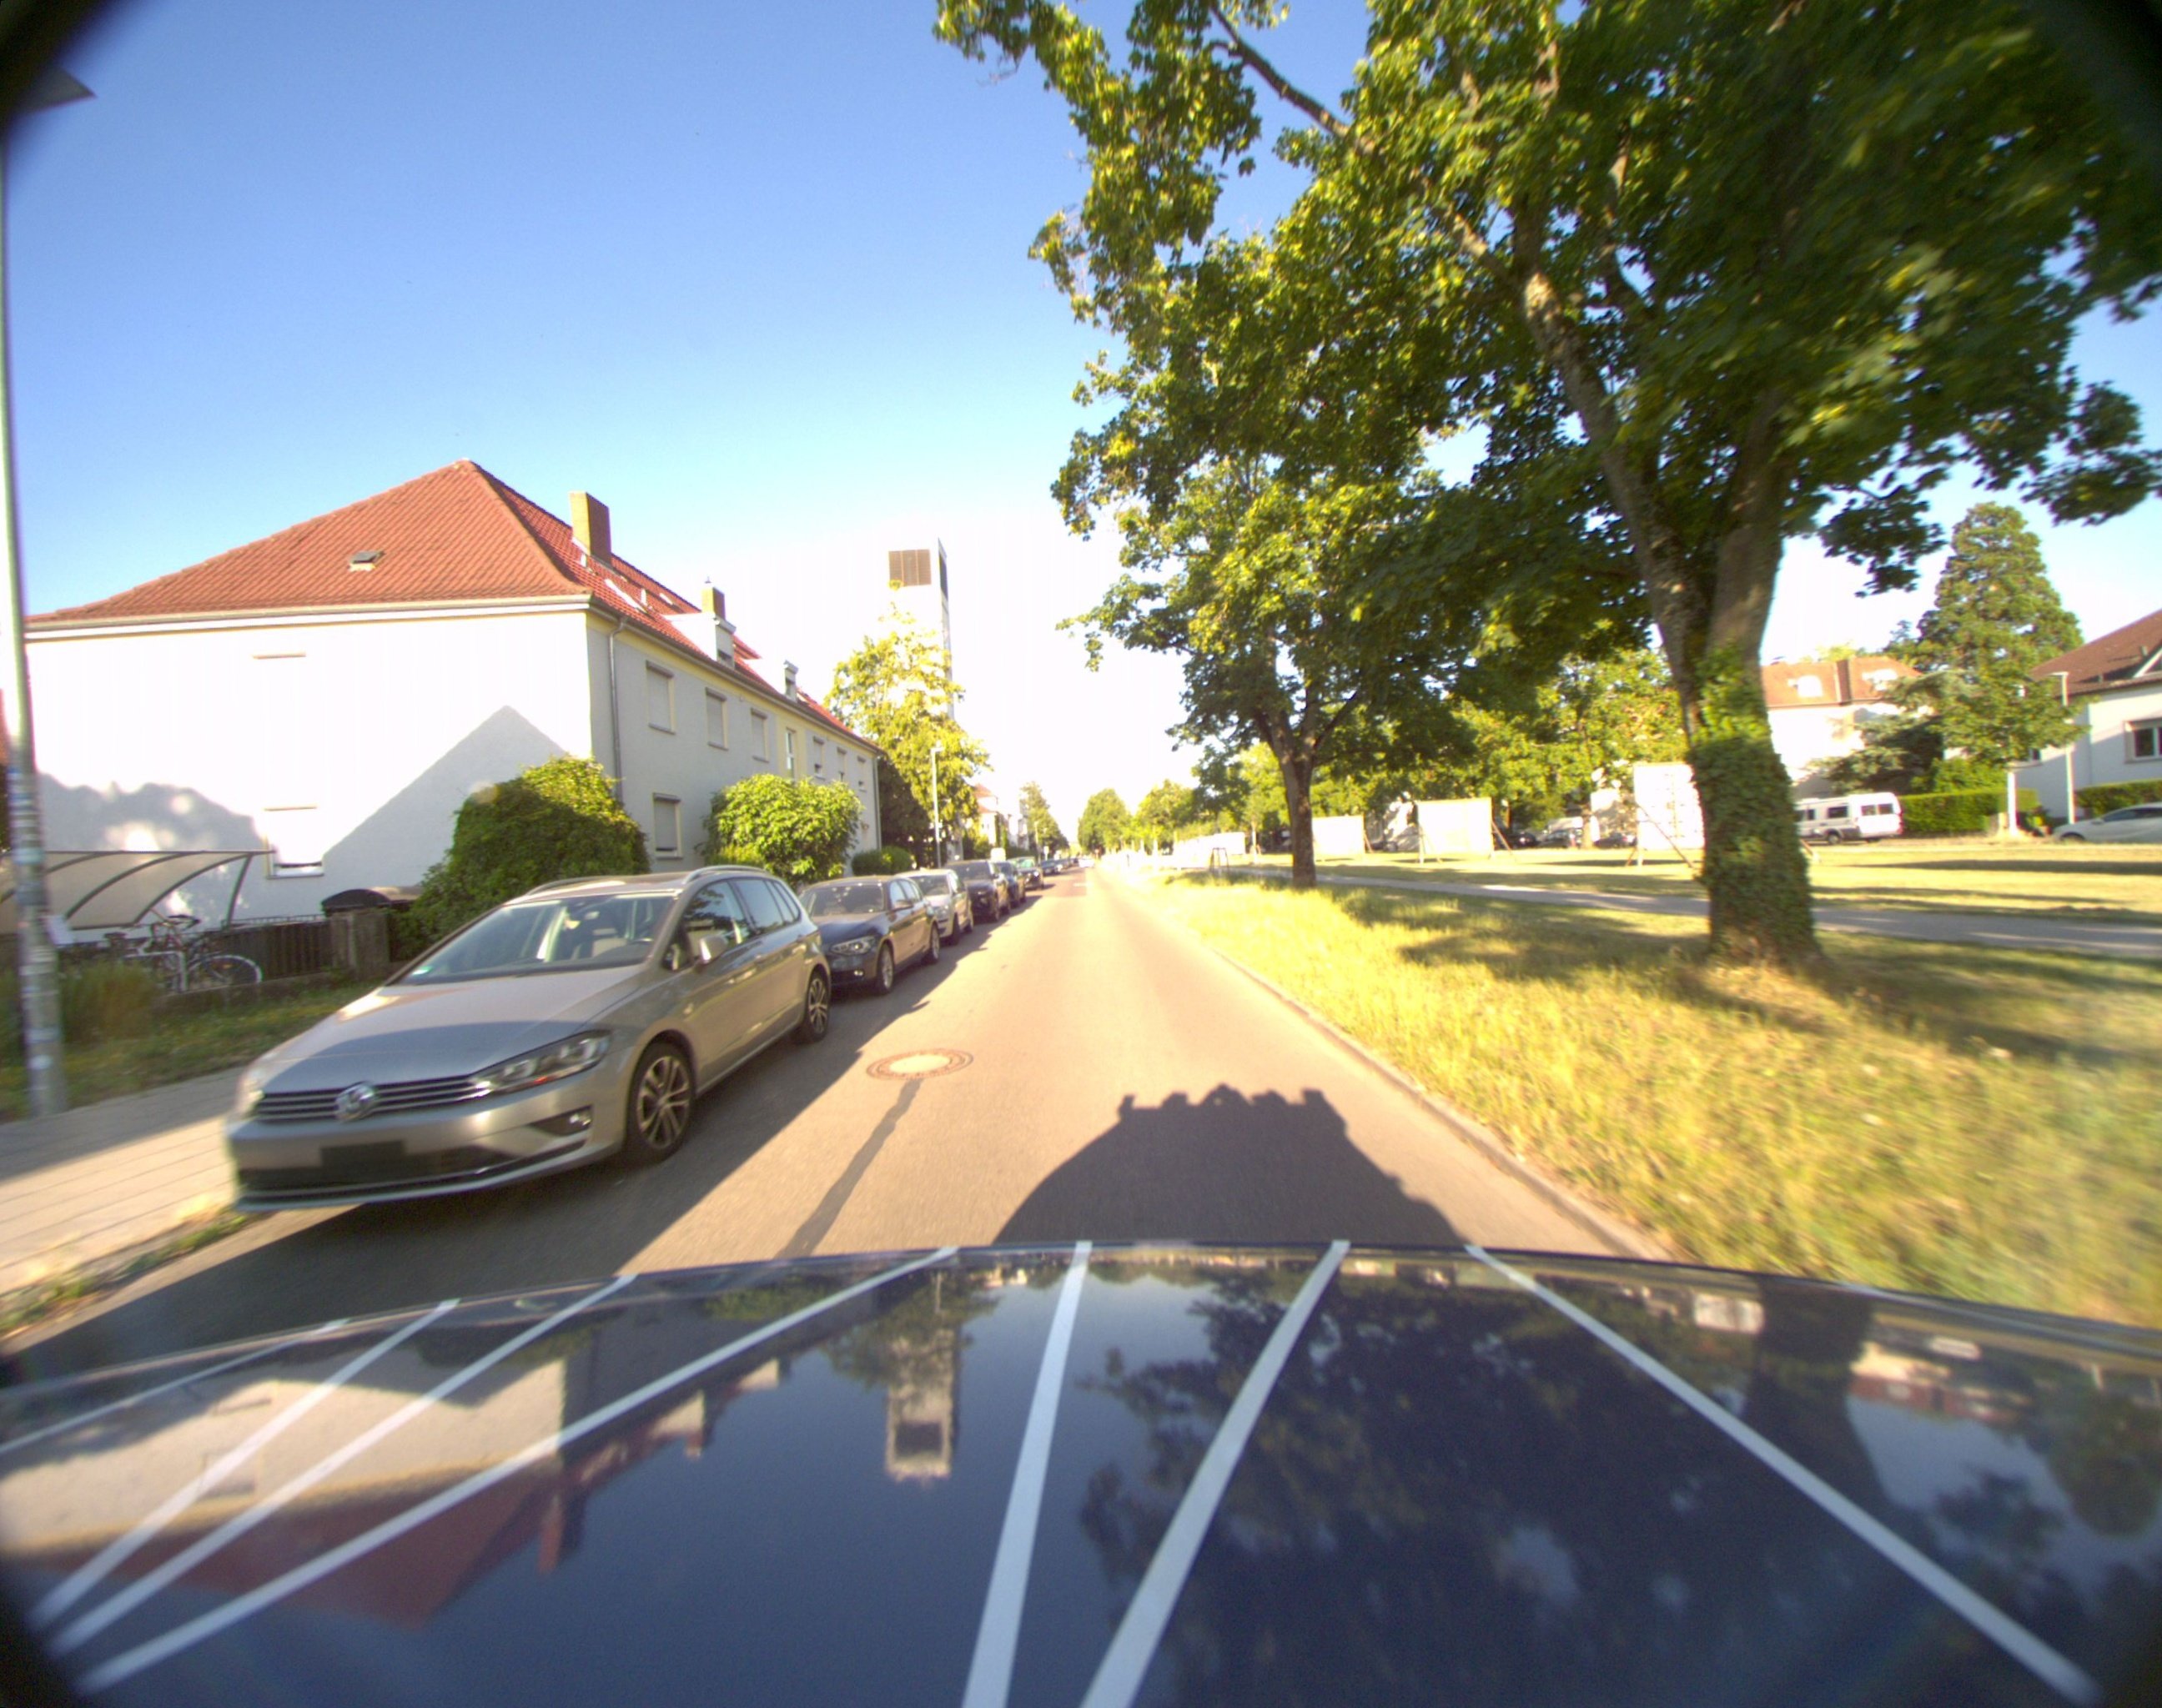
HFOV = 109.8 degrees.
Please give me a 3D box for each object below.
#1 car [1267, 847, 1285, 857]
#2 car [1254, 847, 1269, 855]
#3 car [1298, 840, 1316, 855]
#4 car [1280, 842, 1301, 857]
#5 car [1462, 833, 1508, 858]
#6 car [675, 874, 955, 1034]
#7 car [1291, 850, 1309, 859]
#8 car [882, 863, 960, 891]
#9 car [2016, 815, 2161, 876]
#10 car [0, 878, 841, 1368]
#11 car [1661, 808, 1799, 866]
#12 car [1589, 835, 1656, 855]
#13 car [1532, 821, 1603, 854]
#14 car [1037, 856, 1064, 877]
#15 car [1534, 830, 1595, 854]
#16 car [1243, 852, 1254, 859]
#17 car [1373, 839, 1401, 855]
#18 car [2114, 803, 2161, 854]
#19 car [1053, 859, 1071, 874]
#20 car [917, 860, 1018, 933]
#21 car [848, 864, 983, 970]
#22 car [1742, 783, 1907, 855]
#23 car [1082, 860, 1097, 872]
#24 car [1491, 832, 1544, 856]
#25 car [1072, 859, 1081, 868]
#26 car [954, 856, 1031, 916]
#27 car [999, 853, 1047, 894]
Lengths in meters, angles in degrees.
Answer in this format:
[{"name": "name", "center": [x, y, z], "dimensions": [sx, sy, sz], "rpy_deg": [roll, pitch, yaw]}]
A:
[{"name": "car", "center": [35.005, -0.354, 136.322], "dimensions": [1.999, 1.718, 4.345], "rpy_deg": [-3, -1, -1]}, {"name": "car", "center": [41.078, -0.648, 172.943], "dimensions": [1.999, 1.490, 3.999], "rpy_deg": [-3, -1, -4]}, {"name": "car", "center": [40.745, -1.155, 136.943], "dimensions": [1.998, 2.527, 3.999], "rpy_deg": [-3, 2, 1]}, {"name": "car", "center": [34.823, -0.726, 126.274], "dimensions": [1.999, 2.161, 4.571], "rpy_deg": [-3, -1, -2]}, {"name": "car", "center": [40.479, -0.905, 76.198], "dimensions": [1.942, 2.405, 5.116], "rpy_deg": [1, 1, 1]}, {"name": "car", "center": [-3.228, 1.132, 10.407], "dimensions": [1.998, 1.453, 4.562], "rpy_deg": [-4, 0, 2]}, {"name": "car", "center": [34.787, 0.021, 120.691], "dimensions": [1.857, 1.308, 4.043], "rpy_deg": [-4, 0, 3]}, {"name": "car", "center": [-10.946, 1.541, 52.227], "dimensions": [4.859, 1.478, 2.001], "rpy_deg": [-4, 3, 0]}, {"name": "car", "center": [34.189, -0.271, 24.726], "dimensions": [1.838, 1.888, 4.642], "rpy_deg": [1, 1, 2]}, {"name": "car", "center": [-3.107, 1.041, 4.985], "dimensions": [1.729, 1.552, 4.416], "rpy_deg": [-4, 0, -2]}, {"name": "car", "center": [34.137, -0.859, 40.280], "dimensions": [2.266, 2.809, 5.870], "rpy_deg": [1, 1, 1]}, {"name": "car", "center": [40.429, -0.700, 56.872], "dimensions": [1.998, 1.394, 4.562], "rpy_deg": [1, 1, 4]}, {"name": "car", "center": [40.717, -1.357, 63.801], "dimensions": [1.998, 2.583, 6.089], "rpy_deg": [1, 1, 0]}, {"name": "car", "center": [-2.627, 1.095, 66.501], "dimensions": [1.827, 1.552, 4.622], "rpy_deg": [-9, -1, 1]}, {"name": "car", "center": [33.924, -0.787, 53.426], "dimensions": [1.417, 1.555, 4.309], "rpy_deg": [-3, 0, 0]}, {"name": "car", "center": [35.339, 0.301, 160.674], "dimensions": [1.894, 1.513, 3.682], "rpy_deg": [-2, -1, 6]}, {"name": "car", "center": [40.632, -0.947, 101.044], "dimensions": [1.894, 1.901, 4.714], "rpy_deg": [-3, 0, 1]}, {"name": "car", "center": [39.996, -0.908, 26.419], "dimensions": [1.734, 1.843, 4.713], "rpy_deg": [1, 1, 0]}, {"name": "car", "center": [-2.448, 1.639, 98.631], "dimensions": [1.999, 1.588, 4.885], "rpy_deg": [-7, 1, 0]}, {"name": "car", "center": [-2.947, 1.040, 20.797], "dimensions": [1.859, 1.647, 4.820], "rpy_deg": [-4, 0, 1]}, {"name": "car", "center": [-3.154, 1.127, 15.353], "dimensions": [1.732, 1.539, 4.207], "rpy_deg": [-7, 1, -1]}, {"name": "car", "center": [39.917, -1.788, 41.167], "dimensions": [2.309, 3.538, 6.764], "rpy_deg": [1, 1, 1]}, {"name": "car", "center": [1.138, 1.667, 102.768], "dimensions": [1.998, 1.483, 4.000], "rpy_deg": [-3, 0, 0]}, {"name": "car", "center": [40.554, -0.882, 70.764], "dimensions": [1.974, 1.992, 5.050], "rpy_deg": [-3, 0, 1]}, {"name": "car", "center": [-1.200, 2.491, 200.472], "dimensions": [1.998, 2.179, 4.001], "rpy_deg": [-3, -1, 1]}, {"name": "car", "center": [-2.957, 1.020, 26.322], "dimensions": [1.938, 1.710, 4.621], "rpy_deg": [-6, 0, 0]}, {"name": "car", "center": [-2.784, 0.908, 37.728], "dimensions": [1.837, 1.722, 5.031], "rpy_deg": [-5, 0, 0]}]
